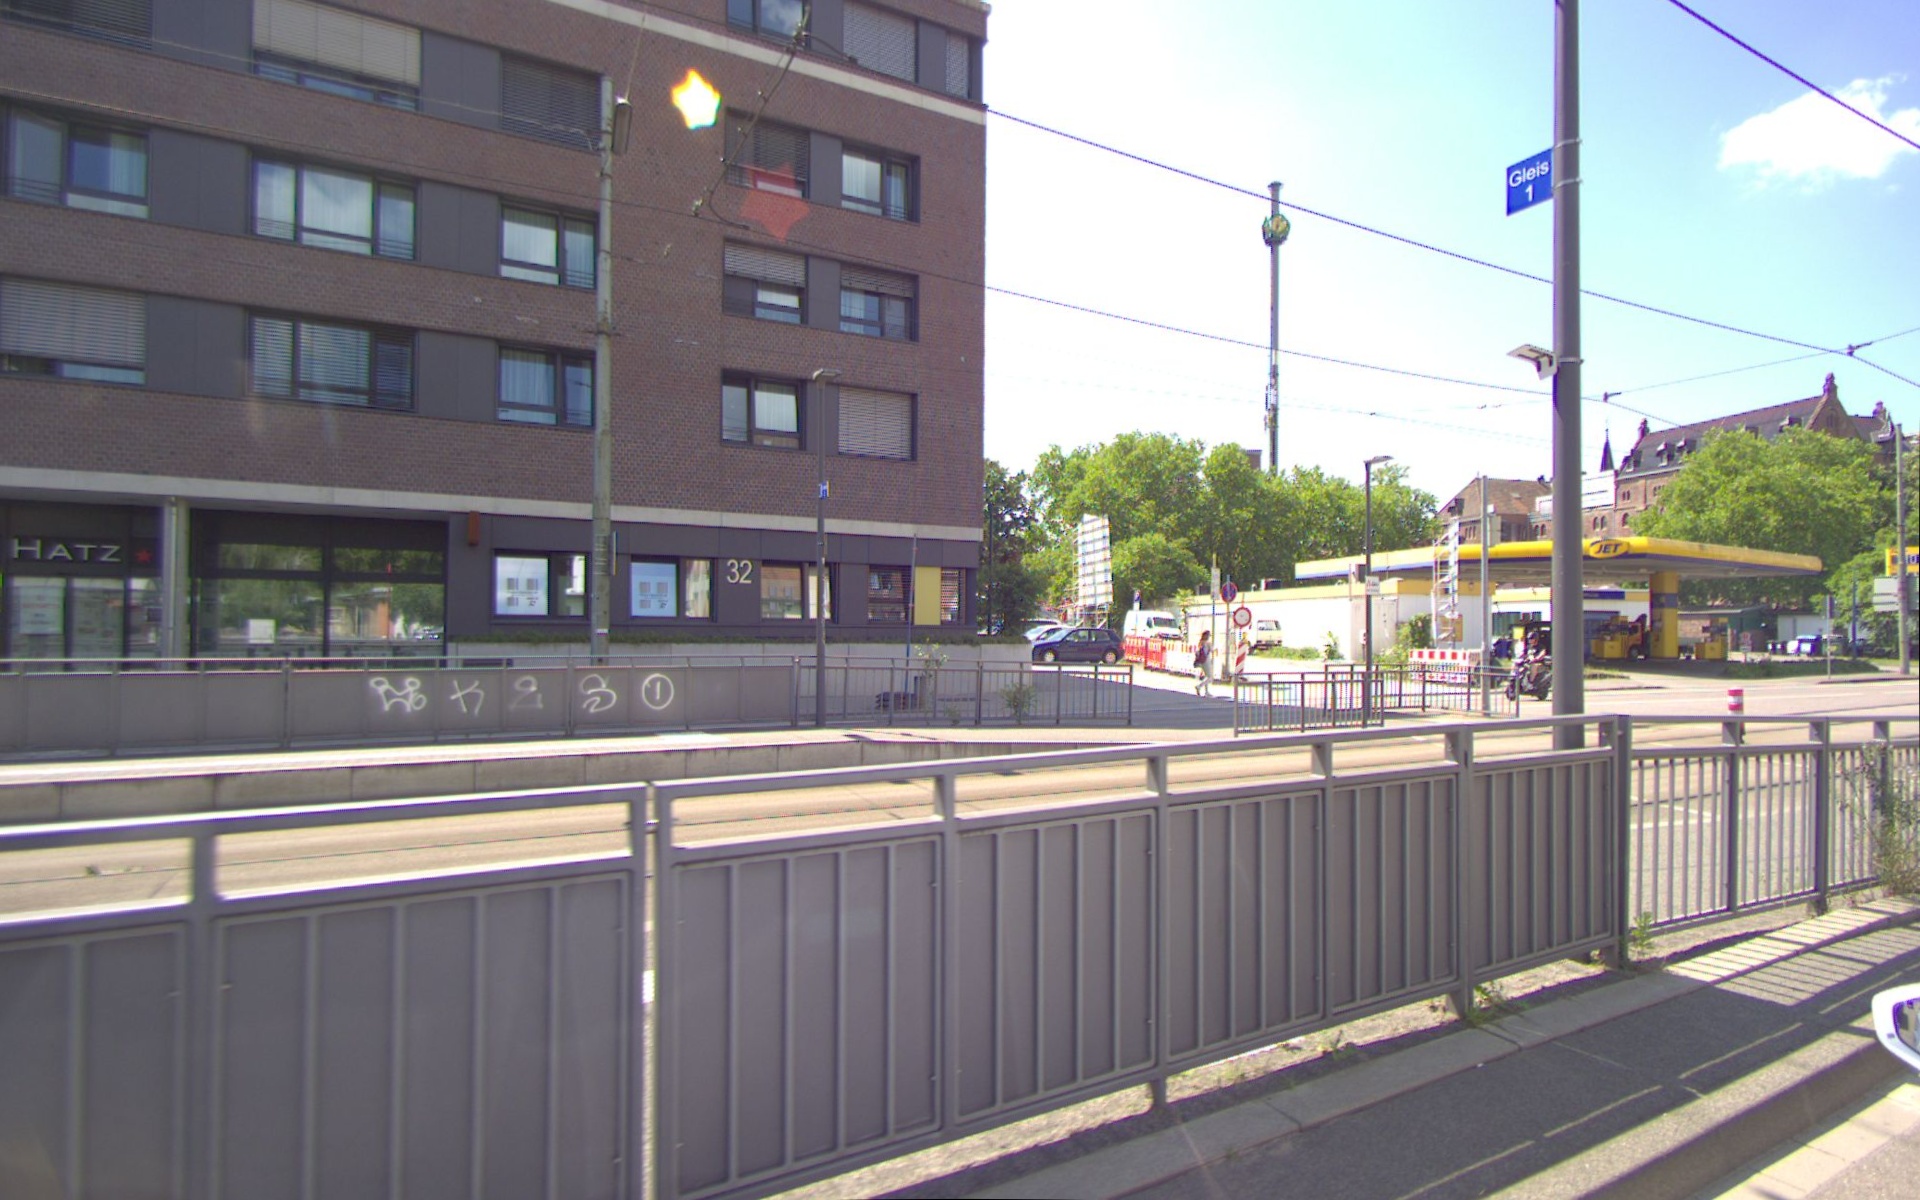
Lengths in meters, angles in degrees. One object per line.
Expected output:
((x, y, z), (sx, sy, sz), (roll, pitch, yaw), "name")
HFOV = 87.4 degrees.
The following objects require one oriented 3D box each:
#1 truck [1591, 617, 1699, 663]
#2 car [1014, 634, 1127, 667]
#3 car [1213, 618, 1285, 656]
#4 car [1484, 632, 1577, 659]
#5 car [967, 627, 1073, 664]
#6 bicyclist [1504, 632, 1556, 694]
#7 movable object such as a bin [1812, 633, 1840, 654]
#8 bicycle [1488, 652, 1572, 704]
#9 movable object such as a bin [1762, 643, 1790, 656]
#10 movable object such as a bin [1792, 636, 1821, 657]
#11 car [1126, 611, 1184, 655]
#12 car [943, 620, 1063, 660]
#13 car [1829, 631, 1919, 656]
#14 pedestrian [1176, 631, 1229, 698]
((39.868, 2.301, 58.479), (5.105, 2.531, 1.999), (1, -1, -5), "truck")
((4.212, 1.937, 38.579), (3.932, 1.176, 1.822), (1, 0, -14), "car")
((15.893, 2.033, 55.400), (1.863, 1.962, 4.240), (1, -2, -17), "car")
((32.500, 2.583, 57.262), (4.261, 1.498, 1.998), (1, -2, -7), "car")
((2.431, 1.835, 40.500), (3.945, 1.439, 1.665), (1, -2, -24), "car")
((14.319, 1.568, 25.229), (1.054, 1.524, 0.753), (2, -2, -34), "bicyclist")
((58.320, 2.923, 67.663), (0.751, 1.372, 1.334), (1, -2, -37), "movable object such as a bin")
((14.283, 1.925, 25.162), (2.363, 1.238, 0.812), (1, -3, -33), "bicycle")
((57.931, 3.483, 71.306), (0.746, 0.885, 1.344), (1, -2, -15), "movable object such as a bin")
((58.302, 3.202, 69.229), (0.747, 1.372, 1.341), (1, -2, -23), "movable object such as a bin")
((12.995, 2.188, 67.261), (2.085, 2.811, 4.485), (1, -2, -15), "car")
((1.871, 1.724, 43.442), (4.772, 1.672, 2.109), (1, -2, -26), "car")
((60.727, 2.892, 66.638), (4.245, 1.611, 2.002), (0, -2, 9), "car")
((6.129, 1.624, 25.410), (0.989, 1.617, 0.755), (1, 2, -33), "pedestrian")
